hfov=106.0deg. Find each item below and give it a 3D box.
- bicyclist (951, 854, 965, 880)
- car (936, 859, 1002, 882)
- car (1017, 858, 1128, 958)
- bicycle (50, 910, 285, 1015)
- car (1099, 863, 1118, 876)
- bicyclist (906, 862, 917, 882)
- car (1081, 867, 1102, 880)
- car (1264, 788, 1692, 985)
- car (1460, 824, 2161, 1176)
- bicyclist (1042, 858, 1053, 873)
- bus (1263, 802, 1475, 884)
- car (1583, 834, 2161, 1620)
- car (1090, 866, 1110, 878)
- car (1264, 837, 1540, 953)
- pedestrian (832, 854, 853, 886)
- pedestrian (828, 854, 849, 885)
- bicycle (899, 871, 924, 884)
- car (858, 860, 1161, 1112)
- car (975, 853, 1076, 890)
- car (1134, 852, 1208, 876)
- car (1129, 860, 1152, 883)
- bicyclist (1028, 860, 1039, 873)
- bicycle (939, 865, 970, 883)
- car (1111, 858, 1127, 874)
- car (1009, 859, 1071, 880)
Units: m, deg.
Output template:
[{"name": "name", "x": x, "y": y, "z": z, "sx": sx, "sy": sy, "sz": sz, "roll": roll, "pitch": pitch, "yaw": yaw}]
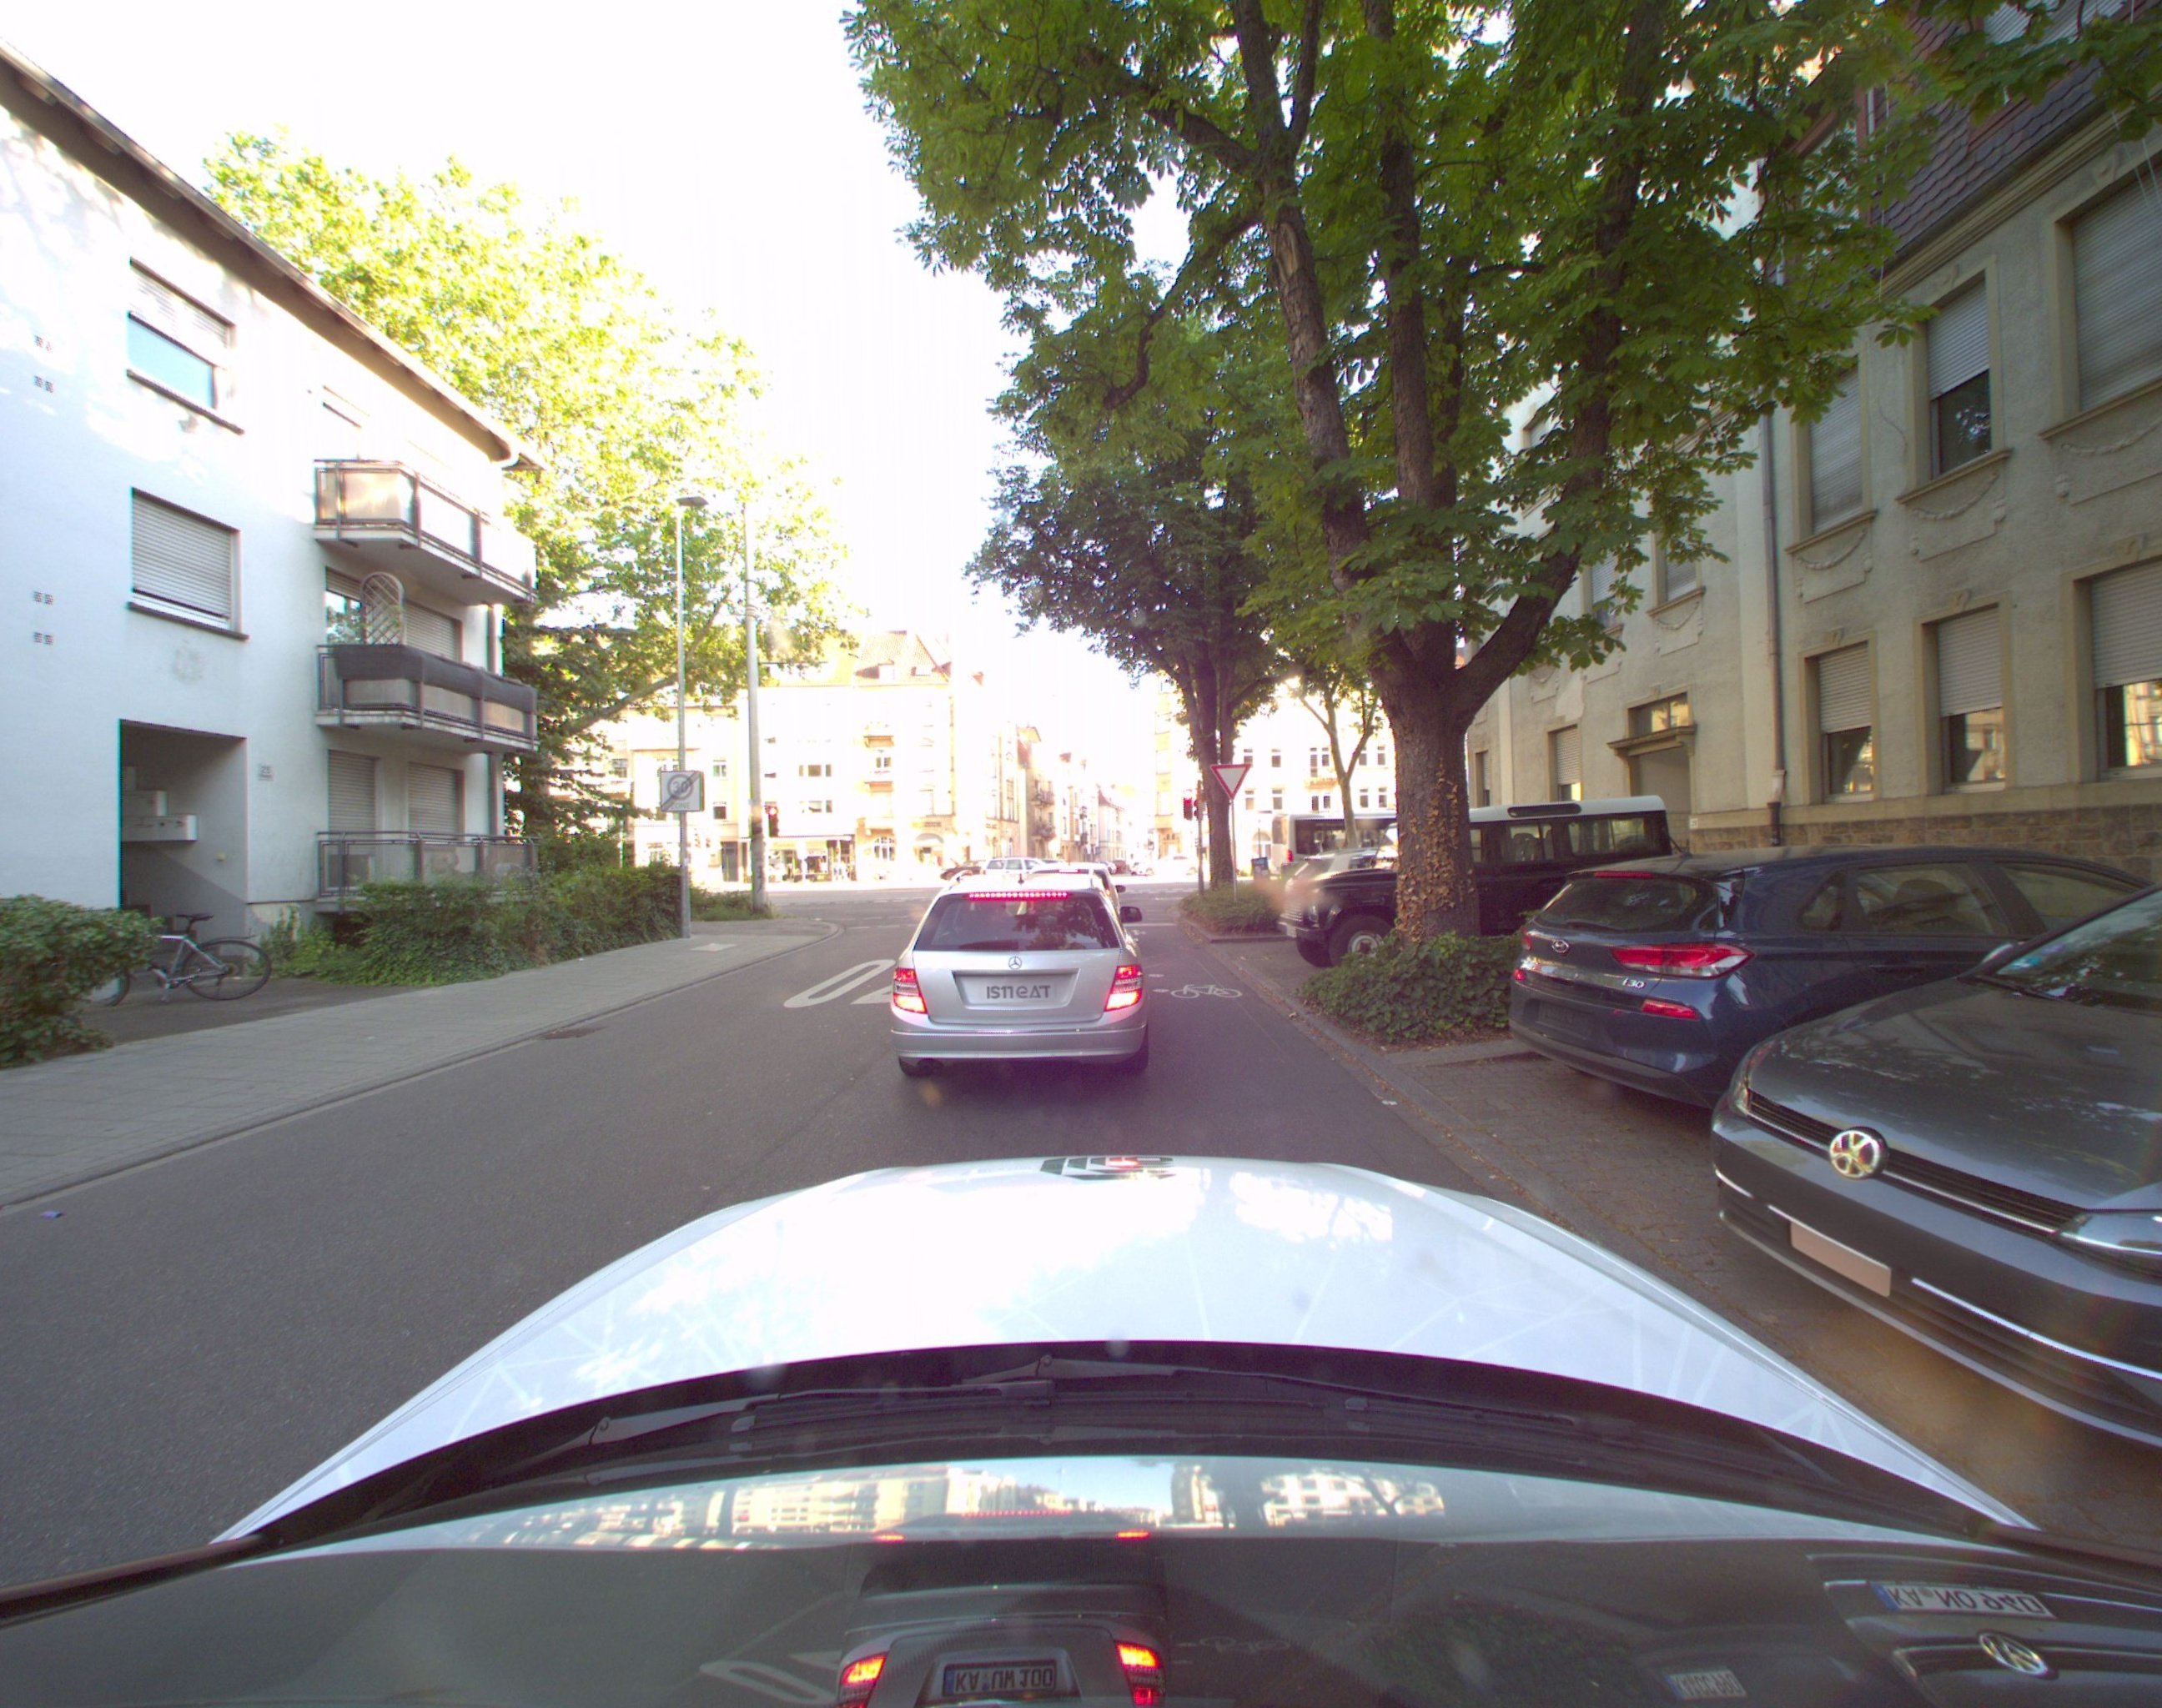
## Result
[{"name": "bicyclist", "x": -9.204, "y": 0.963, "z": 60.986, "sx": 0.889, "sy": 1.859, "sz": 0.636, "roll": -1, "pitch": 0, "yaw": -3}, {"name": "car", "x": -7.217, "y": 1.053, "z": 52.700, "sx": 4.026, "sy": 1.360, "sz": 1.661, "roll": -2, "pitch": 0, "yaw": -4}, {"name": "car", "x": -0.116, "y": 0.812, "z": 14.173, "sx": 1.614, "sy": 1.447, "sz": 4.344, "roll": -1, "pitch": 0, "yaw": 0}, {"name": "bicycle", "x": -10.003, "y": 1.156, "z": 9.010, "sx": 1.630, "sy": 1.008, "sz": 0.511, "roll": 2, "pitch": -2, "yaw": -39}, {"name": "car", "x": 3.704, "y": 2.069, "z": 108.842, "sx": 1.824, "sy": 1.663, "sz": 4.012, "roll": -1, "pitch": 0, "yaw": 10}, {"name": "bicyclist", "x": -12.085, "y": 1.264, "z": 58.007, "sx": 0.642, "sy": 1.426, "sz": 0.636, "roll": -1, "pitch": 0, "yaw": -3}, {"name": "car", "x": 1.321, "y": 2.302, "z": 97.166, "sx": 1.824, "sy": 1.402, "sz": 4.012, "roll": -1, "pitch": 0, "yaw": 10}, {"name": "car", "x": 4.733, "y": 0.368, "z": 10.131, "sx": 4.453, "sy": 2.036, "sz": 1.700, "roll": -2, "pitch": -1, "yaw": -2}, {"name": "car", "x": 4.389, "y": 0.634, "z": 4.557, "sx": 3.714, "sy": 1.452, "sz": 1.707, "roll": -2, "pitch": -1, "yaw": -2}, {"name": "bicyclist", "x": -3.011, "y": 1.024, "z": 73.707, "sx": 0.765, "sy": 1.290, "sz": 0.755, "roll": -1, "pitch": 0, "yaw": 13}, {"name": "bus", "x": 12.379, "y": -0.483, "z": 35.370, "sx": 8.166, "sy": 3.201, "sz": 2.905, "roll": -2, "pitch": 0, "yaw": -7}, {"name": "car", "x": 4.024, "y": 0.650, "z": 2.385, "sx": 4.042, "sy": 1.452, "sz": 1.722, "roll": -2, "pitch": -1, "yaw": -2}, {"name": "car", "x": 2.393, "y": 2.255, "z": 102.636, "sx": 1.824, "sy": 1.402, "sz": 4.012, "roll": -1, "pitch": 0, "yaw": 10}, {"name": "car", "x": 5.023, "y": 0.618, "z": 13.091, "sx": 3.714, "sy": 1.570, "sz": 1.707, "roll": -2, "pitch": -1, "yaw": -2}, {"name": "pedestrian", "x": -18.886, "y": 1.258, "z": 64.583, "sx": 1.343, "sy": 2.464, "sz": 1.059, "roll": -1, "pitch": 0, "yaw": -3}, {"name": "pedestrian", "x": -19.596, "y": 1.281, "z": 65.864, "sx": 1.343, "sy": 2.464, "sz": 1.059, "roll": -1, "pitch": 0, "yaw": -3}, {"name": "bicycle", "x": -12.065, "y": 1.701, "z": 57.999, "sx": 1.613, "sy": 0.876, "sz": 0.636, "roll": -1, "pitch": 0, "yaw": -4}, {"name": "car", "x": -0.411, "y": 0.795, "z": 7.085, "sx": 1.771, "sy": 1.452, "sz": 4.547, "roll": -1, "pitch": 0, "yaw": 0}, {"name": "car", "x": -2.474, "y": 0.771, "z": 36.312, "sx": 4.338, "sy": 1.497, "sz": 1.658, "roll": -1, "pitch": 0, "yaw": -5}, {"name": "car", "x": 5.963, "y": 0.663, "z": 54.333, "sx": 4.694, "sy": 1.460, "sz": 1.834, "roll": -2, "pitch": 0, "yaw": -4}, {"name": "car", "x": 6.302, "y": 1.818, "z": 85.903, "sx": 2.018, "sy": 2.279, "sz": 4.012, "roll": -1, "pitch": 0, "yaw": 10}, {"name": "bicyclist", "x": -4.311, "y": 1.112, "z": 73.728, "sx": 0.765, "sy": 1.156, "sz": 0.755, "roll": -1, "pitch": 0, "yaw": 13}, {"name": "bicycle", "x": -9.458, "y": 1.514, "z": 60.968, "sx": 2.251, "sy": 1.246, "sz": 0.636, "roll": -1, "pitch": 0, "yaw": -3}, {"name": "car", "x": 5.478, "y": 1.722, "z": 117.401, "sx": 1.776, "sy": 2.204, "sz": 4.012, "roll": -1, "pitch": 0, "yaw": 10}, {"name": "car", "x": -2.839, "y": 1.081, "z": 56.698, "sx": 4.212, "sy": 1.349, "sz": 1.662, "roll": -1, "pitch": 0, "yaw": -4}]
